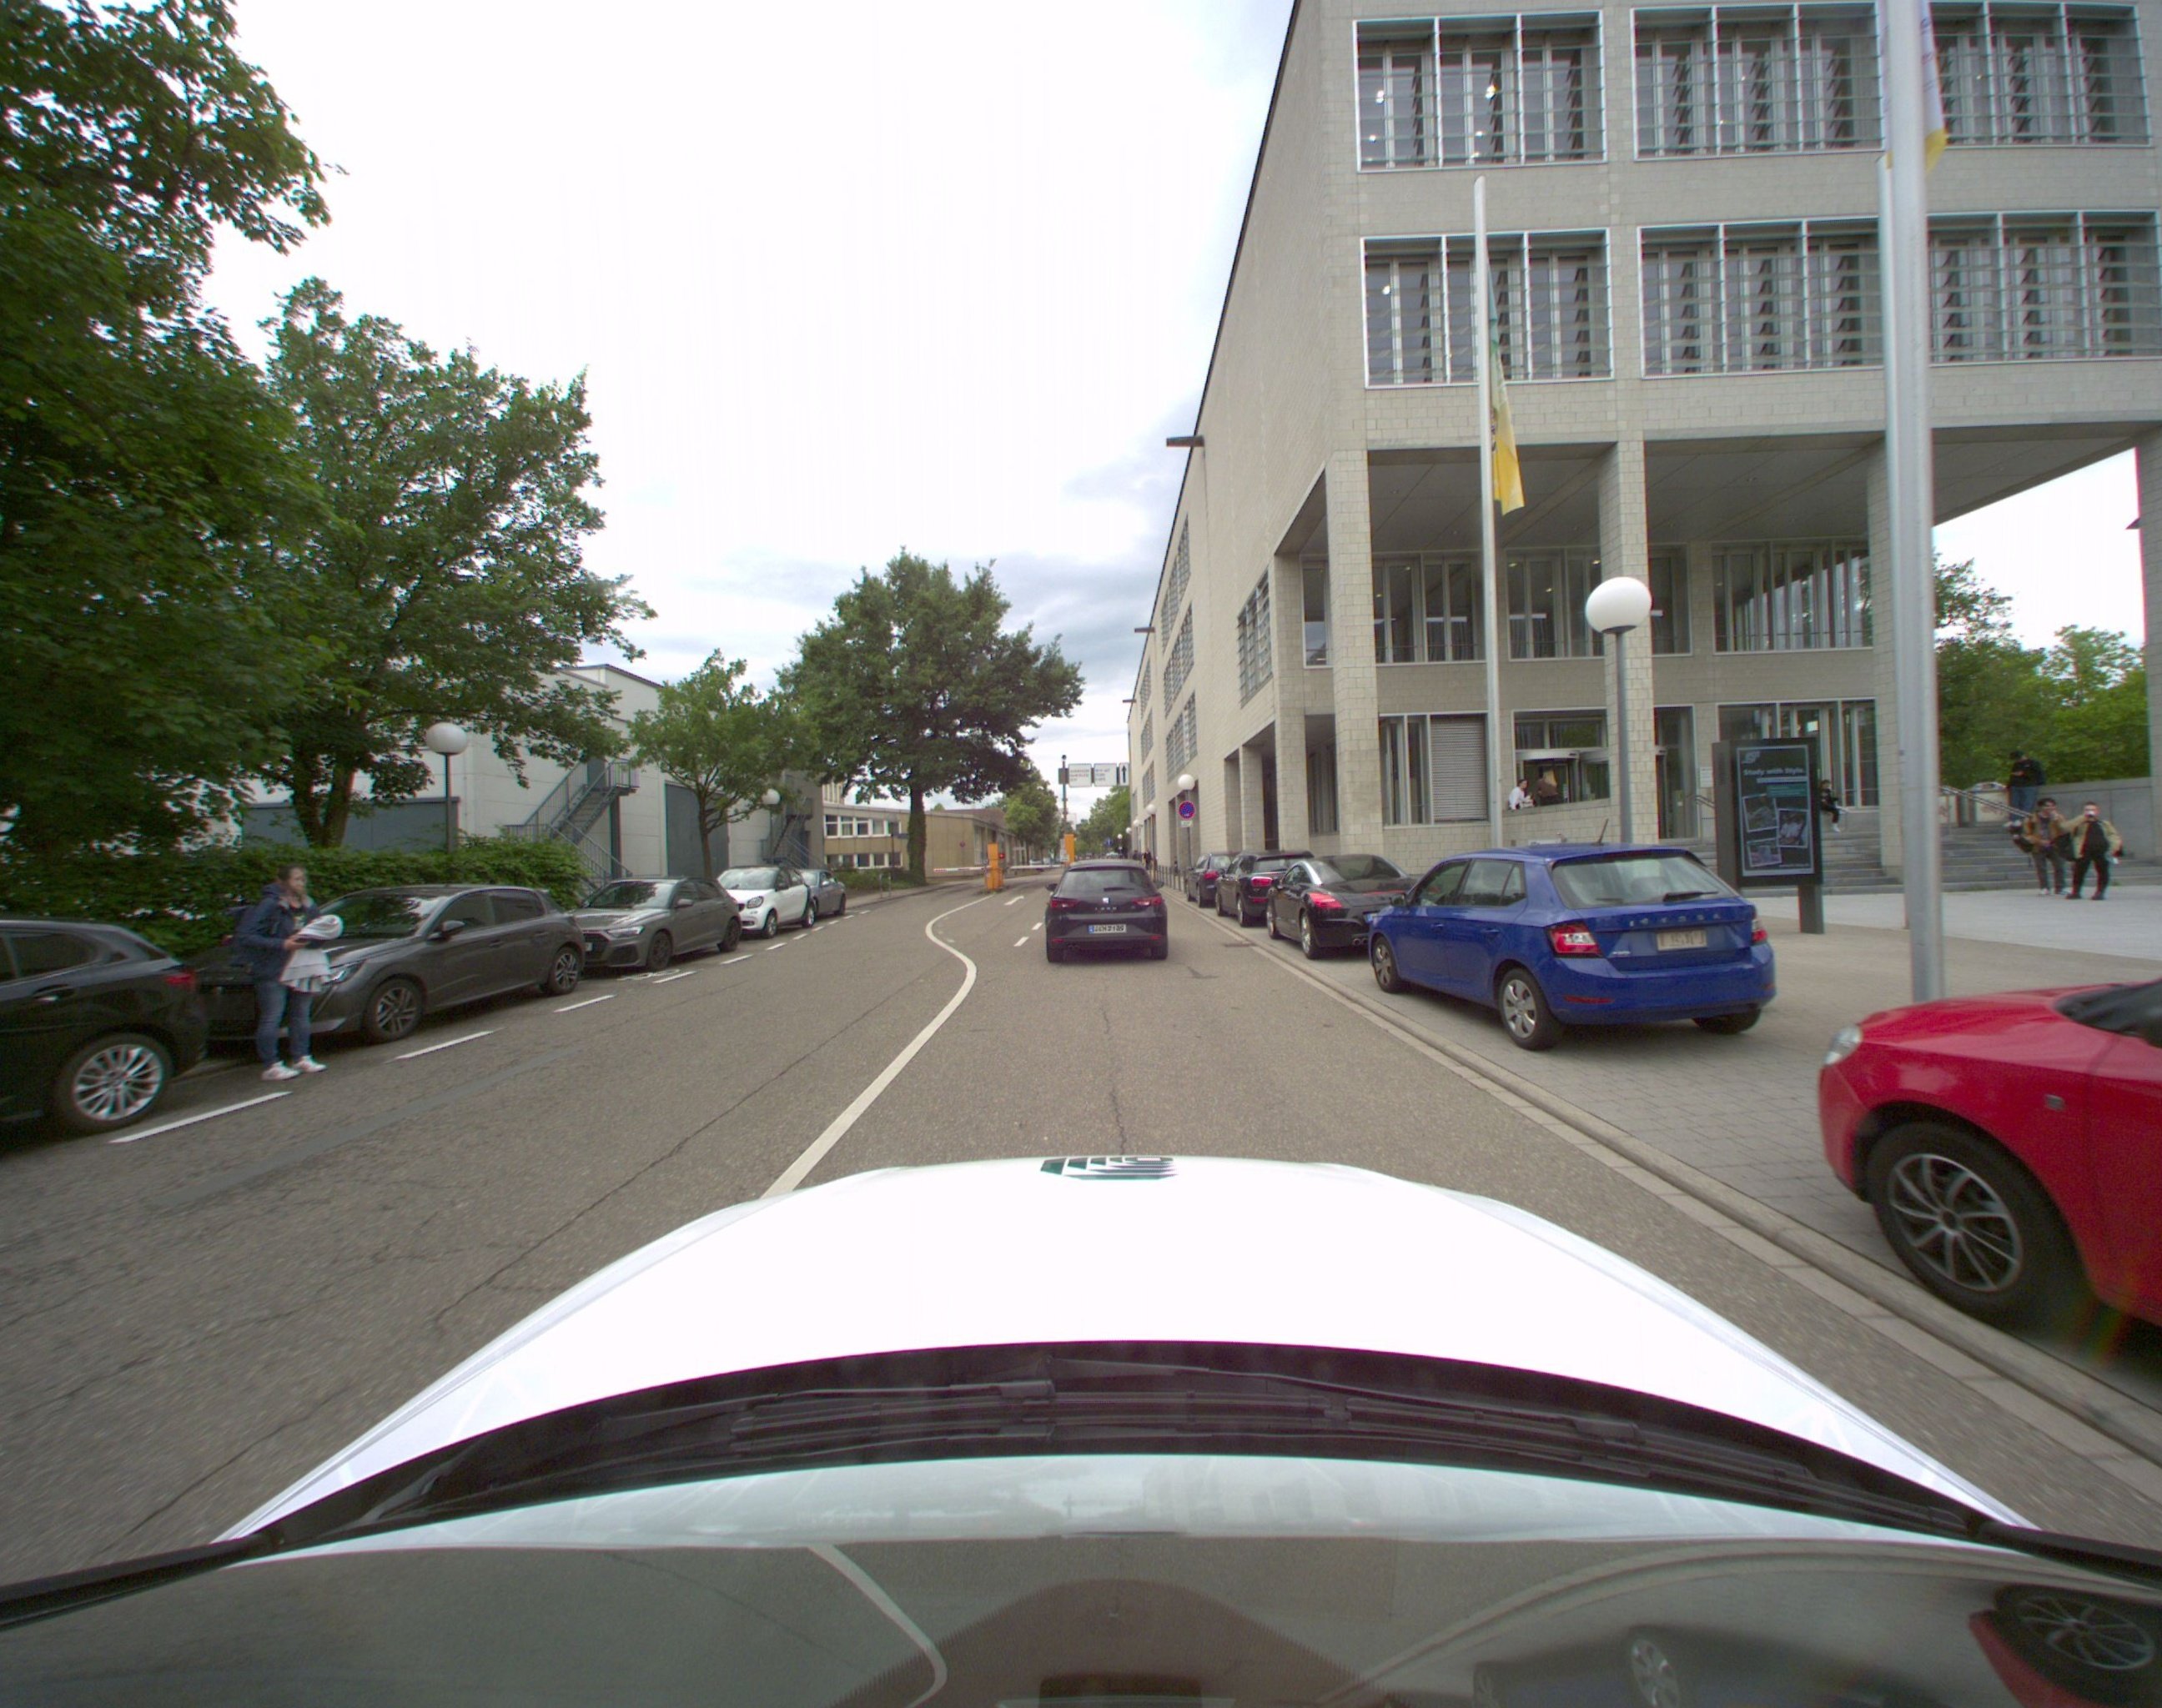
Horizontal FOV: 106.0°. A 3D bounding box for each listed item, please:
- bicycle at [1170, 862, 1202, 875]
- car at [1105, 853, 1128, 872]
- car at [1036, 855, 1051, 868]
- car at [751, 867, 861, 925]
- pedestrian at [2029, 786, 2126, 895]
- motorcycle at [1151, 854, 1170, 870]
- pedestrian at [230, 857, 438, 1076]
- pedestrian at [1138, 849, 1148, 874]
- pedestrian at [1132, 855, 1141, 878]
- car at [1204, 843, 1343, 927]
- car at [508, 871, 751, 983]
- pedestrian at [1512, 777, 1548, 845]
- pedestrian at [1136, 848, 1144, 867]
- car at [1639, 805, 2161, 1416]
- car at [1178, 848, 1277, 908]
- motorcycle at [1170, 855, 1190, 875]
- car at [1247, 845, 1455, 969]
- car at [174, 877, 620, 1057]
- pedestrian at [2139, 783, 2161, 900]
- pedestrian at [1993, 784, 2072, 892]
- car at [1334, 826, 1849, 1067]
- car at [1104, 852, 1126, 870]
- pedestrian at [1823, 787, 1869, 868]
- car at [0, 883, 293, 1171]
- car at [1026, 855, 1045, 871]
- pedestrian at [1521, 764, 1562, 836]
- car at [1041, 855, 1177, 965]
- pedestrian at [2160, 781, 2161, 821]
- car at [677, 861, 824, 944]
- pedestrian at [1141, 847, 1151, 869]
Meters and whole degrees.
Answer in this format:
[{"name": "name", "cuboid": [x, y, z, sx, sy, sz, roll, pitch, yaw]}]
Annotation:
[{"name": "bicycle", "cuboid": [6.324, 0.852, 49.105, 1.892, 0.698, 0.492, -1, 2, -3]}, {"name": "car", "cuboid": [3.350, 0.823, 77.764, 1.987, 1.622, 4.427, -3, -1, 0]}, {"name": "car", "cuboid": [-5.161, 1.011, 112.616, 1.764, 1.601, 4.000, -2, 0, 1]}, {"name": "car", "cuboid": [-7.806, 1.134, 23.525, 1.813, 1.389, 4.191, -2, 0, -2]}, {"name": "pedestrian", "cuboid": [16.356, -0.211, 13.382, 0.773, 1.715, 0.604, -2, -1, 2]}, {"name": "motorcycle", "cuboid": [6.731, 0.670, 68.873, 0.752, 1.148, 2.679, 0, 2, 25]}, {"name": "pedestrian", "cuboid": [-6.218, 0.881, 6.846, 0.736, 1.661, 0.968, -3, 1, 2]}, {"name": "pedestrian", "cuboid": [4.243, 0.505, 55.645, 0.608, 1.714, 0.575, -3, 0, 5]}, {"name": "pedestrian", "cuboid": [4.343, 0.964, 63.469, 0.686, 1.698, 0.589, -1, 2, 5]}, {"name": "car", "cuboid": [3.919, 0.575, 17.356, 1.812, 1.443, 4.520, -4, 0, 0]}, {"name": "car", "cuboid": [-7.203, 1.079, 13.533, 1.758, 1.411, 4.007, -2, 0, -1]}, {"name": "pedestrian", "cuboid": [11.173, -1.065, 20.296, 0.624, 1.658, 0.811, -1, 2, 17]}, {"name": "pedestrian", "cuboid": [5.436, 0.310, 74.987, 0.693, 1.714, 0.490, -2, 0, 5]}, {"name": "car", "cuboid": [3.496, 0.609, 1.703, 1.706, 1.473, 4.274, -4, 0, 1]}, {"name": "car", "cuboid": [4.013, 0.637, 23.192, 1.986, 1.452, 4.923, -2, -1, 1]}, {"name": "motorcycle", "cuboid": [6.363, 0.673, 52.283, 0.560, 1.148, 2.230, 0, 2, 25]}, {"name": "car", "cuboid": [3.848, 0.649, 12.464, 1.841, 1.442, 4.421, -2, 1, 2]}, {"name": "car", "cuboid": [-7.278, 1.074, 9.288, 1.756, 1.471, 3.825, -3, 0, 1]}, {"name": "pedestrian", "cuboid": [17.596, -0.211, 13.106, 0.783, 1.865, 0.596, -2, -1, -39]}, {"name": "pedestrian", "cuboid": [16.705, -0.273, 14.307, 0.588, 1.841, 0.620, -2, -1, 2]}, {"name": "car", "cuboid": [3.885, 0.592, 7.284, 1.691, 1.411, 4.372, -3, -1, -2]}, {"name": "car", "cuboid": [3.429, 0.685, 82.295, 1.986, 1.622, 4.429, -4, 0, 1]}, {"name": "pedestrian", "cuboid": [19.421, -0.671, 20.681, 0.594, 2.013, 0.539, -2, -1, 0]}, {"name": "car", "cuboid": [-7.061, 1.063, 4.031, 1.791, 1.561, 4.531, -3, 0, 1]}, {"name": "car", "cuboid": [-5.011, 0.981, 89.822, 1.764, 1.601, 3.999, -2, 0, 0]}, {"name": "pedestrian", "cuboid": [10.952, -1.275, 19.384, 0.797, 1.658, 0.635, 0, 2, 26]}, {"name": "car", "cuboid": [0.390, 0.749, 12.942, 1.776, 1.419, 4.129, -2, 0, 0]}, {"name": "pedestrian", "cuboid": [16.790, -0.225, 12.029, 0.763, 1.785, 0.734, -2, -1, -13]}, {"name": "car", "cuboid": [-7.356, 1.002, 18.556, 1.710, 1.586, 3.877, -2, 0, 0]}, {"name": "pedestrian", "cuboid": [5.160, 0.298, 64.761, 0.726, 1.698, 0.587, -1, 2, -5]}]
